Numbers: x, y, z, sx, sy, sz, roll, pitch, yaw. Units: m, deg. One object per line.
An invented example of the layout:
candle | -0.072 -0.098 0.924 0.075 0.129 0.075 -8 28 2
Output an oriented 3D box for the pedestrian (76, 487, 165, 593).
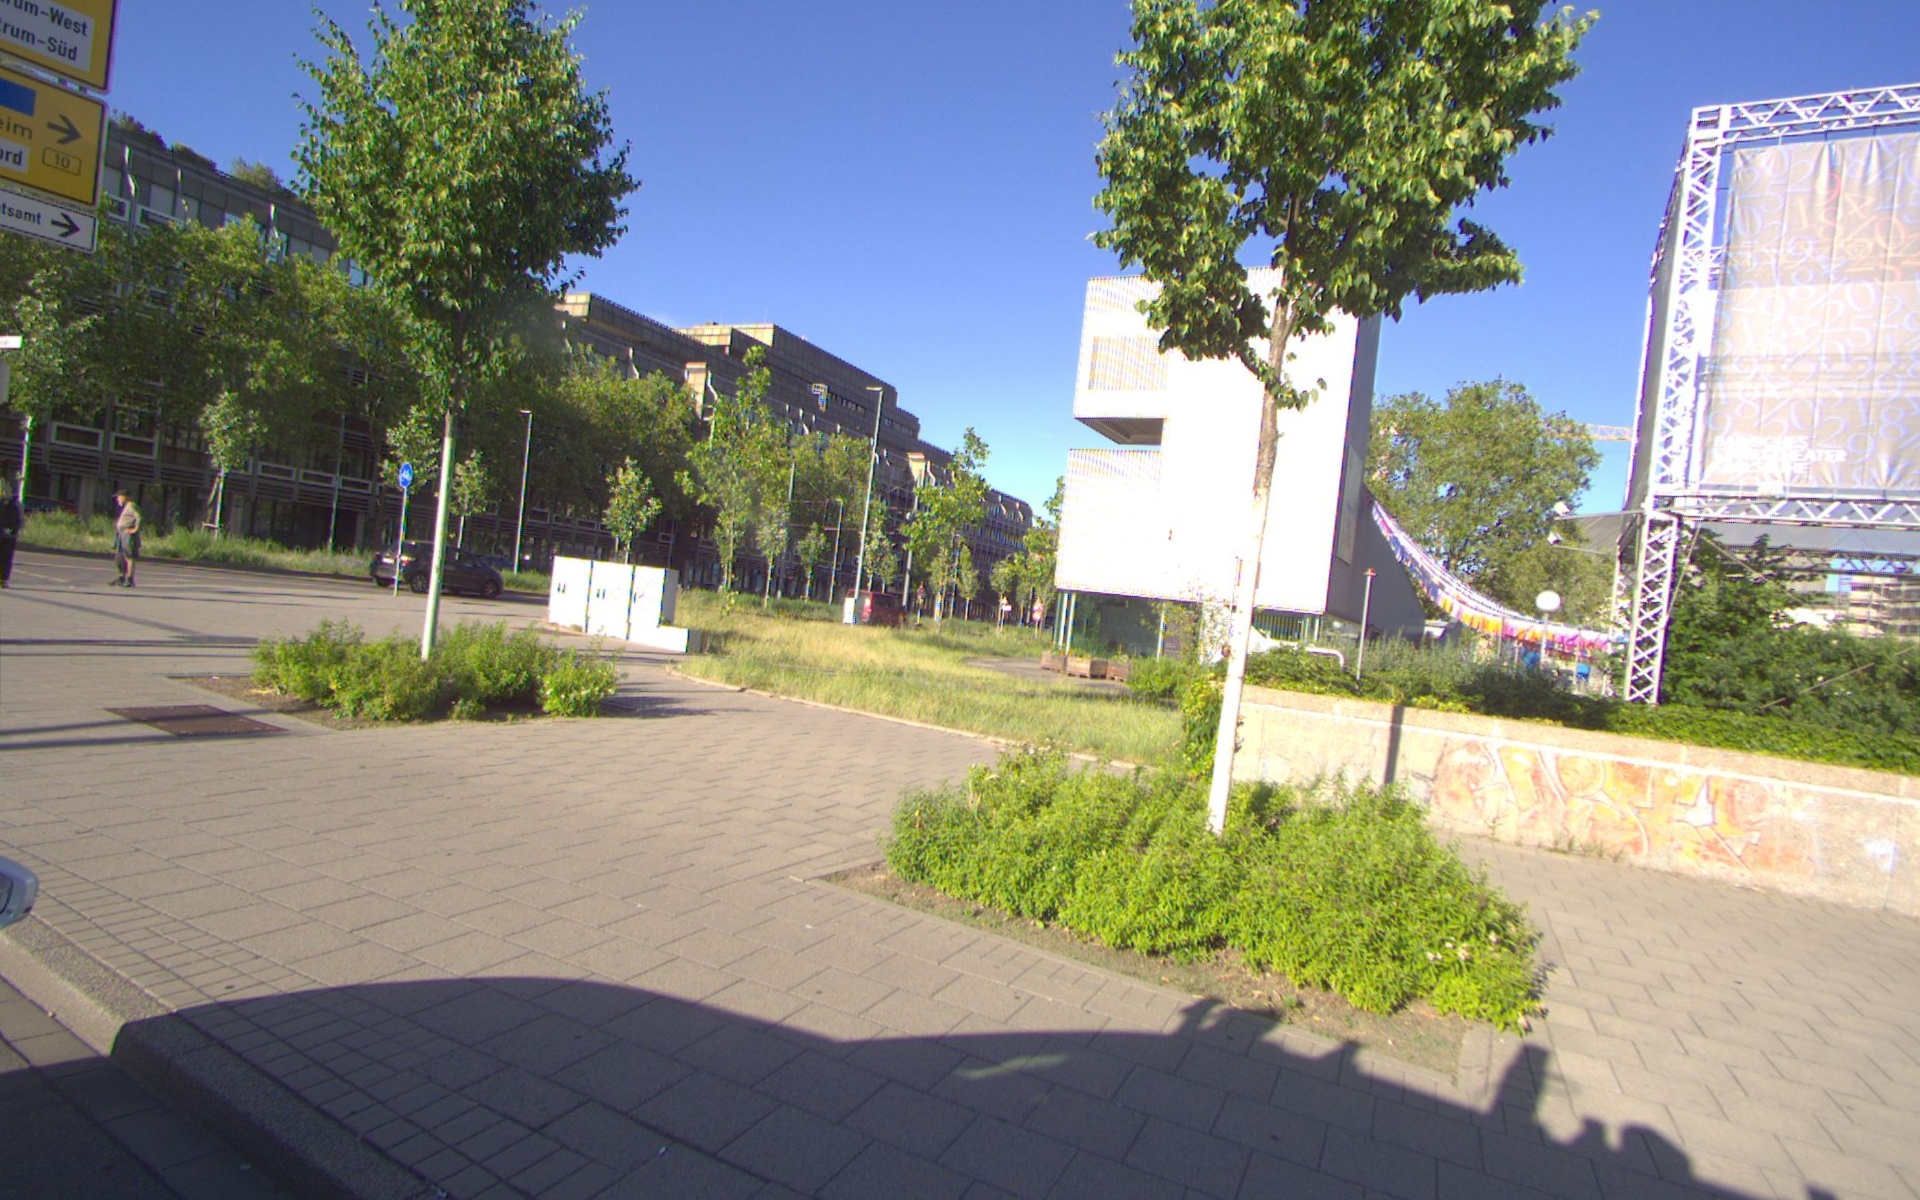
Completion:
pedestrian | -14.936 -1.060 17.905 0.755 1.728 0.873 7 1 30

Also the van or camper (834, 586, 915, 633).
van or camper | -4.582 0.549 54.644 1.972 2.038 4.838 7 -1 27

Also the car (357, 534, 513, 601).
car | -15.698 -0.932 30.298 1.642 1.528 3.871 7 -1 25

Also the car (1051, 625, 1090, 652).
car | 7.566 2.641 68.540 1.407 1.474 3.553 7 -2 26

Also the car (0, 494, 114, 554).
car | -33.156 -2.771 35.744 1.792 1.704 4.302 7 -1 21

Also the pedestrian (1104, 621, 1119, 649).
pedestrian | 9.203 2.140 61.236 0.520 1.571 0.638 7 -1 31

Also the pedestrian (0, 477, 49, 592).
pedestrian | -14.317 -1.002 14.994 0.859 1.634 0.767 7 1 30
